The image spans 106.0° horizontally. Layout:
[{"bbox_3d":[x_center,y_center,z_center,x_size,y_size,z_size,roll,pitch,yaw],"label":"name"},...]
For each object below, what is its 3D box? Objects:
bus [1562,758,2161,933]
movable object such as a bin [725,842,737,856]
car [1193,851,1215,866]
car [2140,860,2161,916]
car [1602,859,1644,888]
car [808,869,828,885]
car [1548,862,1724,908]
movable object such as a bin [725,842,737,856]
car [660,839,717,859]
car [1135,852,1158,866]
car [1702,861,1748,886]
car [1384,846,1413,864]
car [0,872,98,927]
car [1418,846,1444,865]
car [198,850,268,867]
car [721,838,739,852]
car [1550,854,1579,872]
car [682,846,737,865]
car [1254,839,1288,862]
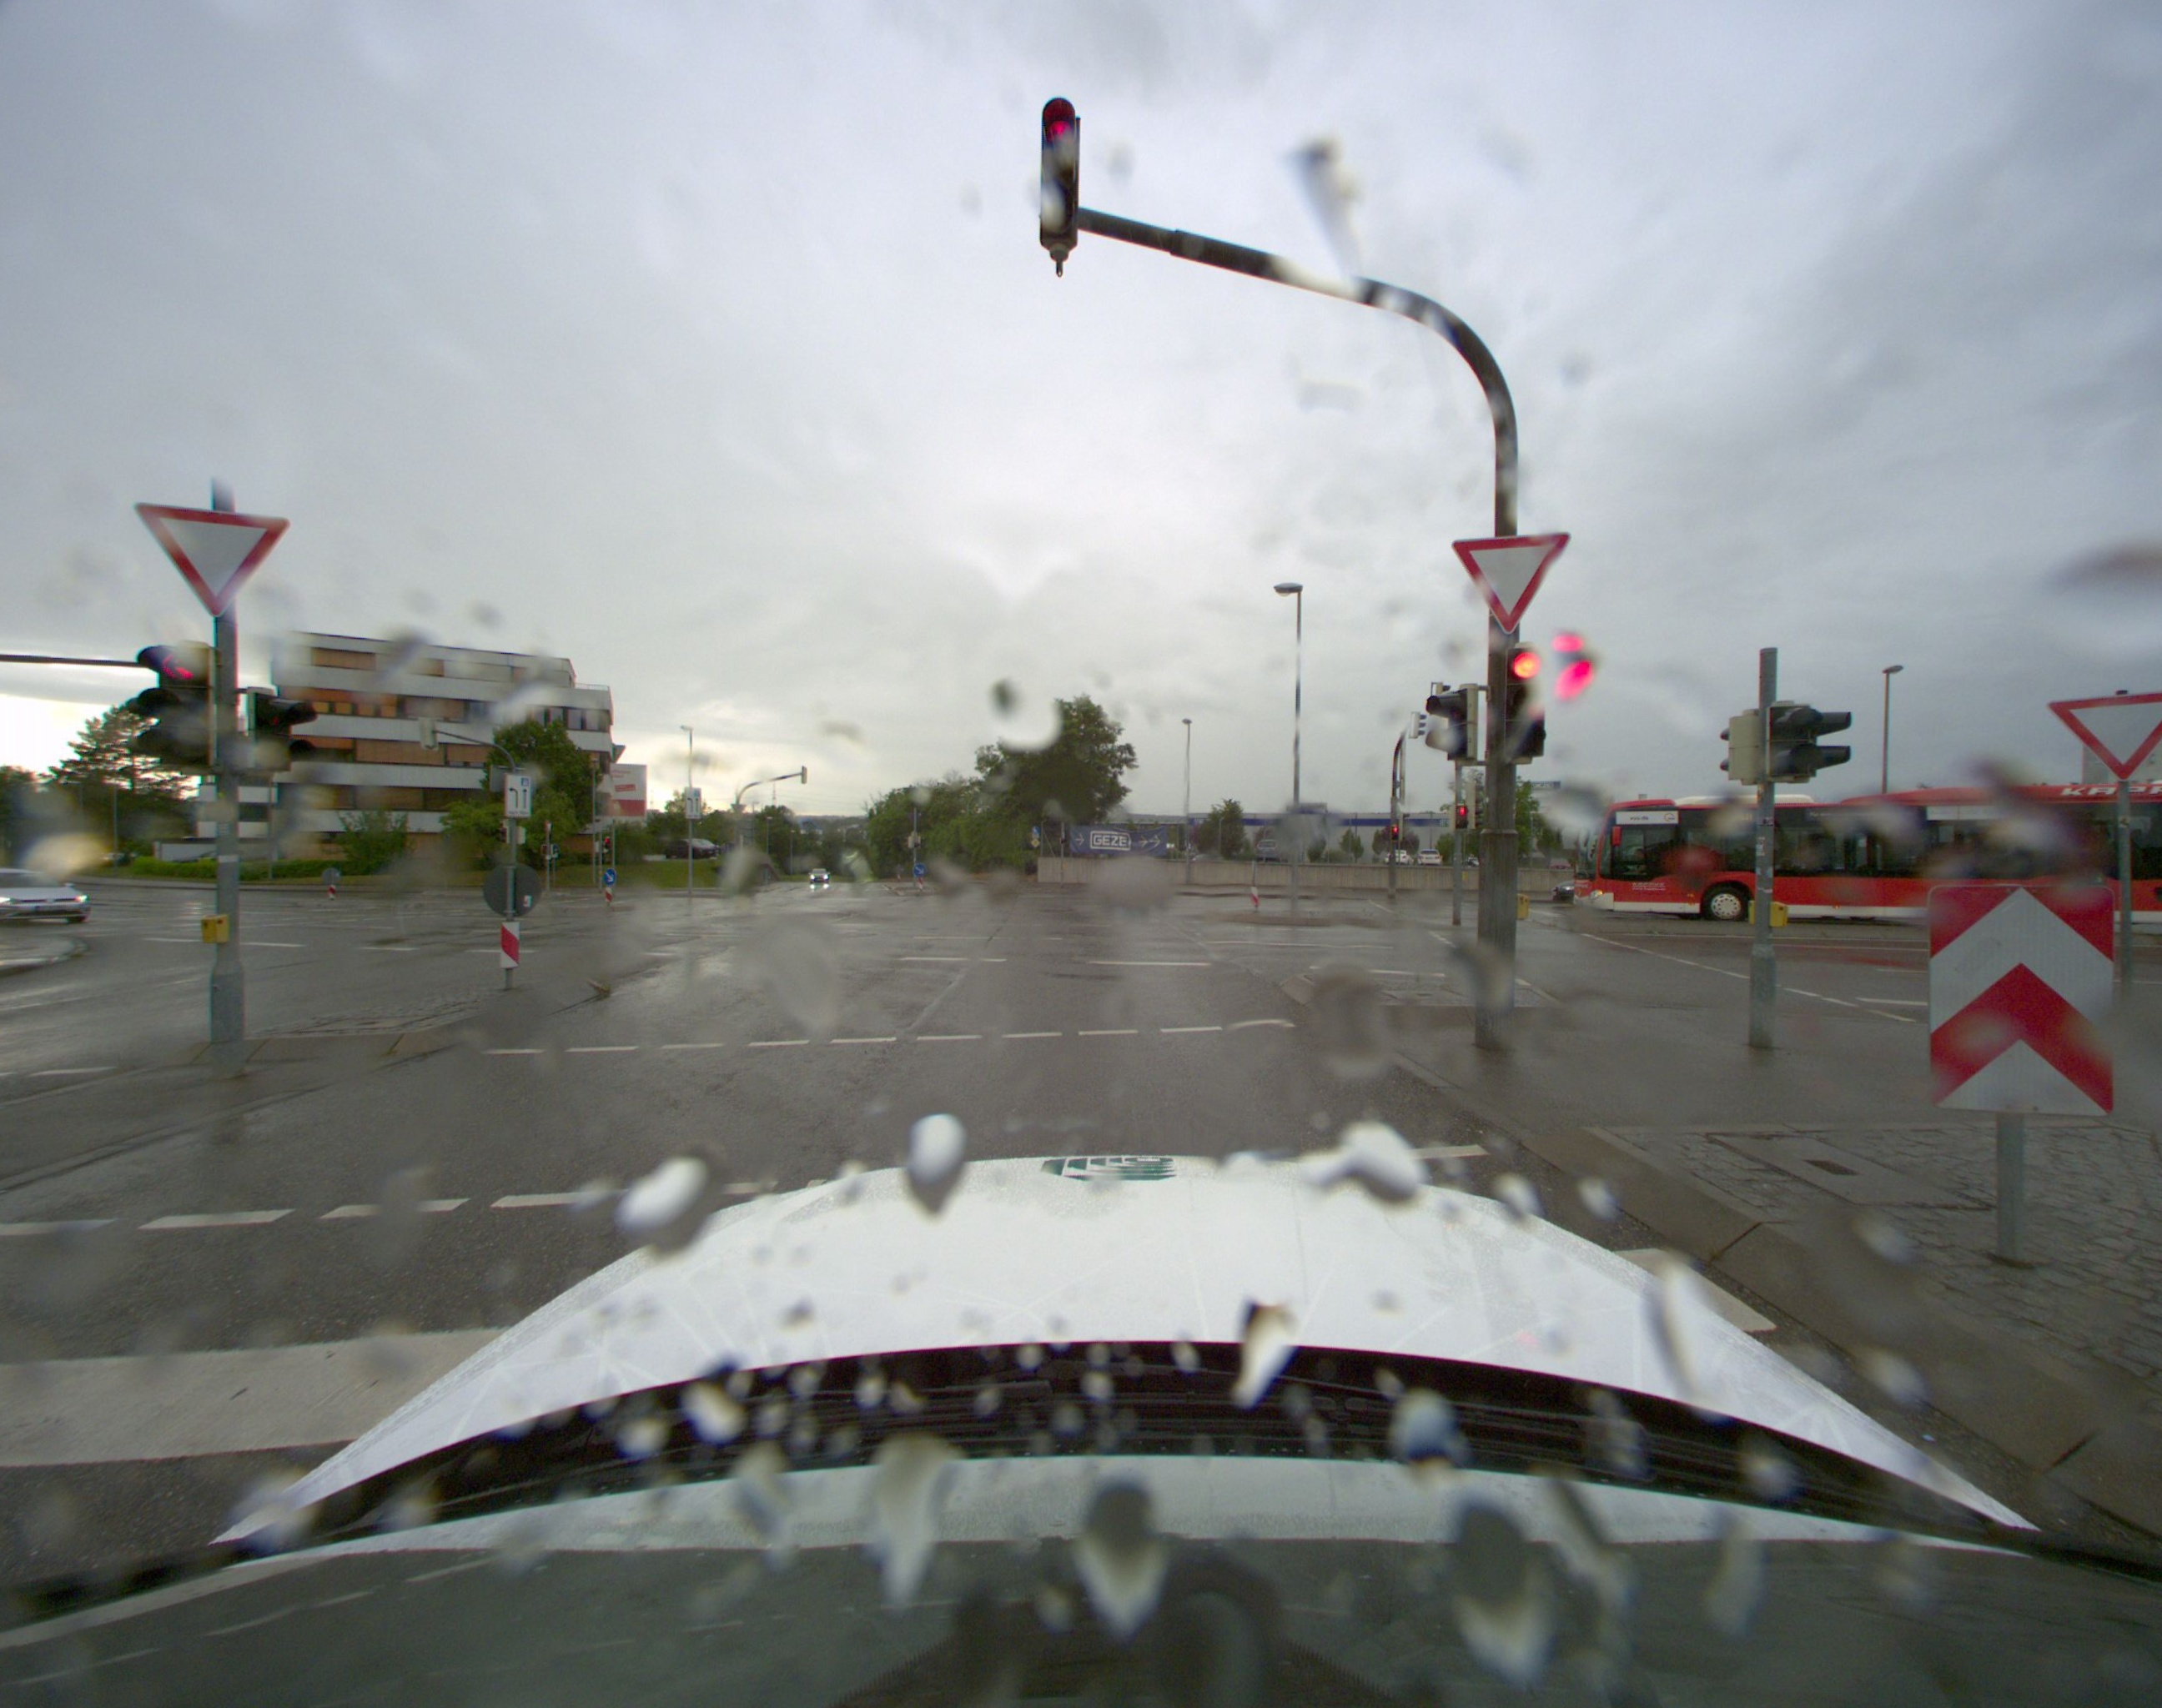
[{"bbox_3d":[18.663,-0.273,19.253,12.152,3.576,3.001,2,0,19],"label":"bus"},{"bbox_3d":[-37.746,-0.511,87.872,1.089,1.437,1.434,1,-3,-25],"label":"movable object such as a bin"},{"bbox_3d":[13.965,0.512,92.431,1.651,1.606,3.550,-1,-1,23],"label":"car"},{"bbox_3d":[31.689,0.947,21.468,4.344,1.538,1.834,0,0,18],"label":"car"},{"bbox_3d":[37.938,1.333,57.063,1.727,2.014,3.844,-1,-1,23],"label":"car"},{"bbox_3d":[-25.355,2.159,78.467,1.667,1.494,3.973,0,-1,-20],"label":"car"},{"bbox_3d":[17.649,0.942,26.127,4.344,1.354,1.834,0,0,18],"label":"car"},{"bbox_3d":[-38.351,-0.497,89.206,1.089,1.437,1.434,1,-3,-25],"label":"movable object such as a bin"},{"bbox_3d":[-33.415,-0.424,69.337,3.962,1.586,1.907,0,-2,10],"label":"car"},{"bbox_3d":[7.781,0.587,95.885,1.651,1.606,3.550,-1,-1,23],"label":"car"},{"bbox_3d":[53.010,1.568,67.100,1.976,2.014,4.022,-1,-1,24],"label":"car"},{"bbox_3d":[26.485,0.111,67.866,1.800,1.434,4.128,-1,-1,28],"label":"car"},{"bbox_3d":[-28.804,1.176,21.799,4.479,1.363,1.771,-1,-1,20],"label":"car"},{"bbox_3d":[28.912,0.133,67.176,1.841,1.526,4.127,-1,-1,25],"label":"car"},{"bbox_3d":[-69.974,0.341,67.263,3.779,1.399,1.977,0,0,-40],"label":"car"},{"bbox_3d":[-41.548,-1.079,96.478,1.836,1.442,3.967,1,-2,-25],"label":"car"},{"bbox_3d":[43.162,0.760,72.739,1.905,1.589,3.811,0,0,25],"label":"car"},{"bbox_3d":[-32.662,0.153,71.650,3.958,1.586,1.909,0,-2,14],"label":"car"},{"bbox_3d":[13.364,-0.241,57.267,1.727,1.553,3.550,-1,-1,23],"label":"car"}]
